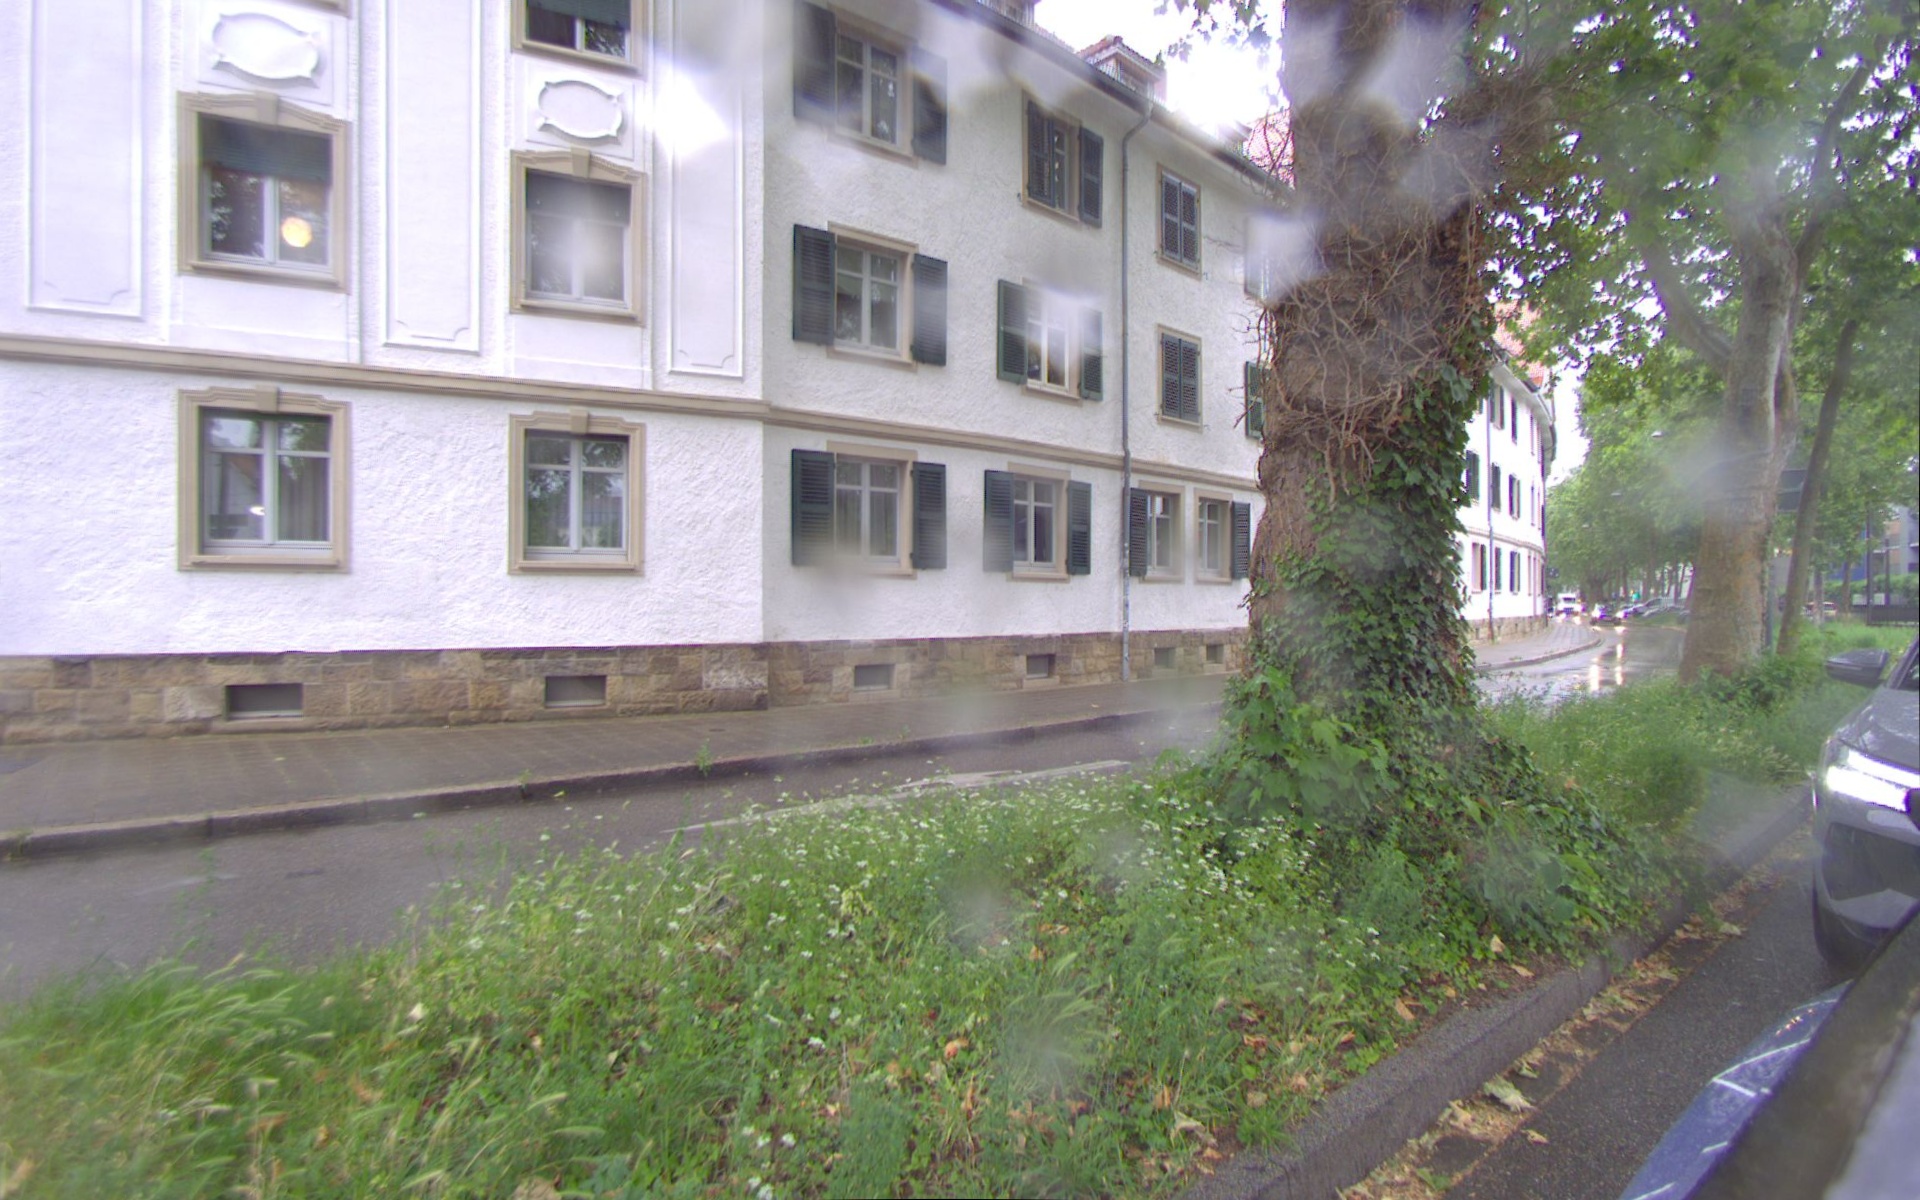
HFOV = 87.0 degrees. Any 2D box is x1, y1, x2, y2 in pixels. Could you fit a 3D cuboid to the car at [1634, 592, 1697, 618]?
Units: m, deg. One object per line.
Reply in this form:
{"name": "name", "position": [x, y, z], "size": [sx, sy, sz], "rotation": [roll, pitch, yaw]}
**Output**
{"name": "car", "position": [55.911, 0.382, 80.301], "size": [3.969, 2.039, 1.977], "rotation": [0, -1, 32]}

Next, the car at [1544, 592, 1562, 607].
{"name": "car", "position": [84.976, -0.104, 144.989], "size": [1.981, 2.039, 3.961], "rotation": [-2, -1, 28]}

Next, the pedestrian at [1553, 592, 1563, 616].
{"name": "pedestrian", "position": [47.115, 0.314, 79.762], "size": [0.668, 1.845, 0.672], "rotation": [0, 0, 31]}

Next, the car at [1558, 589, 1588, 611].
{"name": "car", "position": [68.277, -0.008, 112.834], "size": [2.173, 2.292, 5.367], "rotation": [0, 0, 24]}

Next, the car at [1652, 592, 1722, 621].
{"name": "car", "position": [52.644, 0.466, 73.396], "size": [3.969, 2.039, 1.977], "rotation": [0, -1, 32]}

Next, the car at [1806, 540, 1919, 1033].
{"name": "car", "position": [5.145, 0.617, 4.317], "size": [4.039, 1.662, 1.913], "rotation": [0, 0, -44]}
